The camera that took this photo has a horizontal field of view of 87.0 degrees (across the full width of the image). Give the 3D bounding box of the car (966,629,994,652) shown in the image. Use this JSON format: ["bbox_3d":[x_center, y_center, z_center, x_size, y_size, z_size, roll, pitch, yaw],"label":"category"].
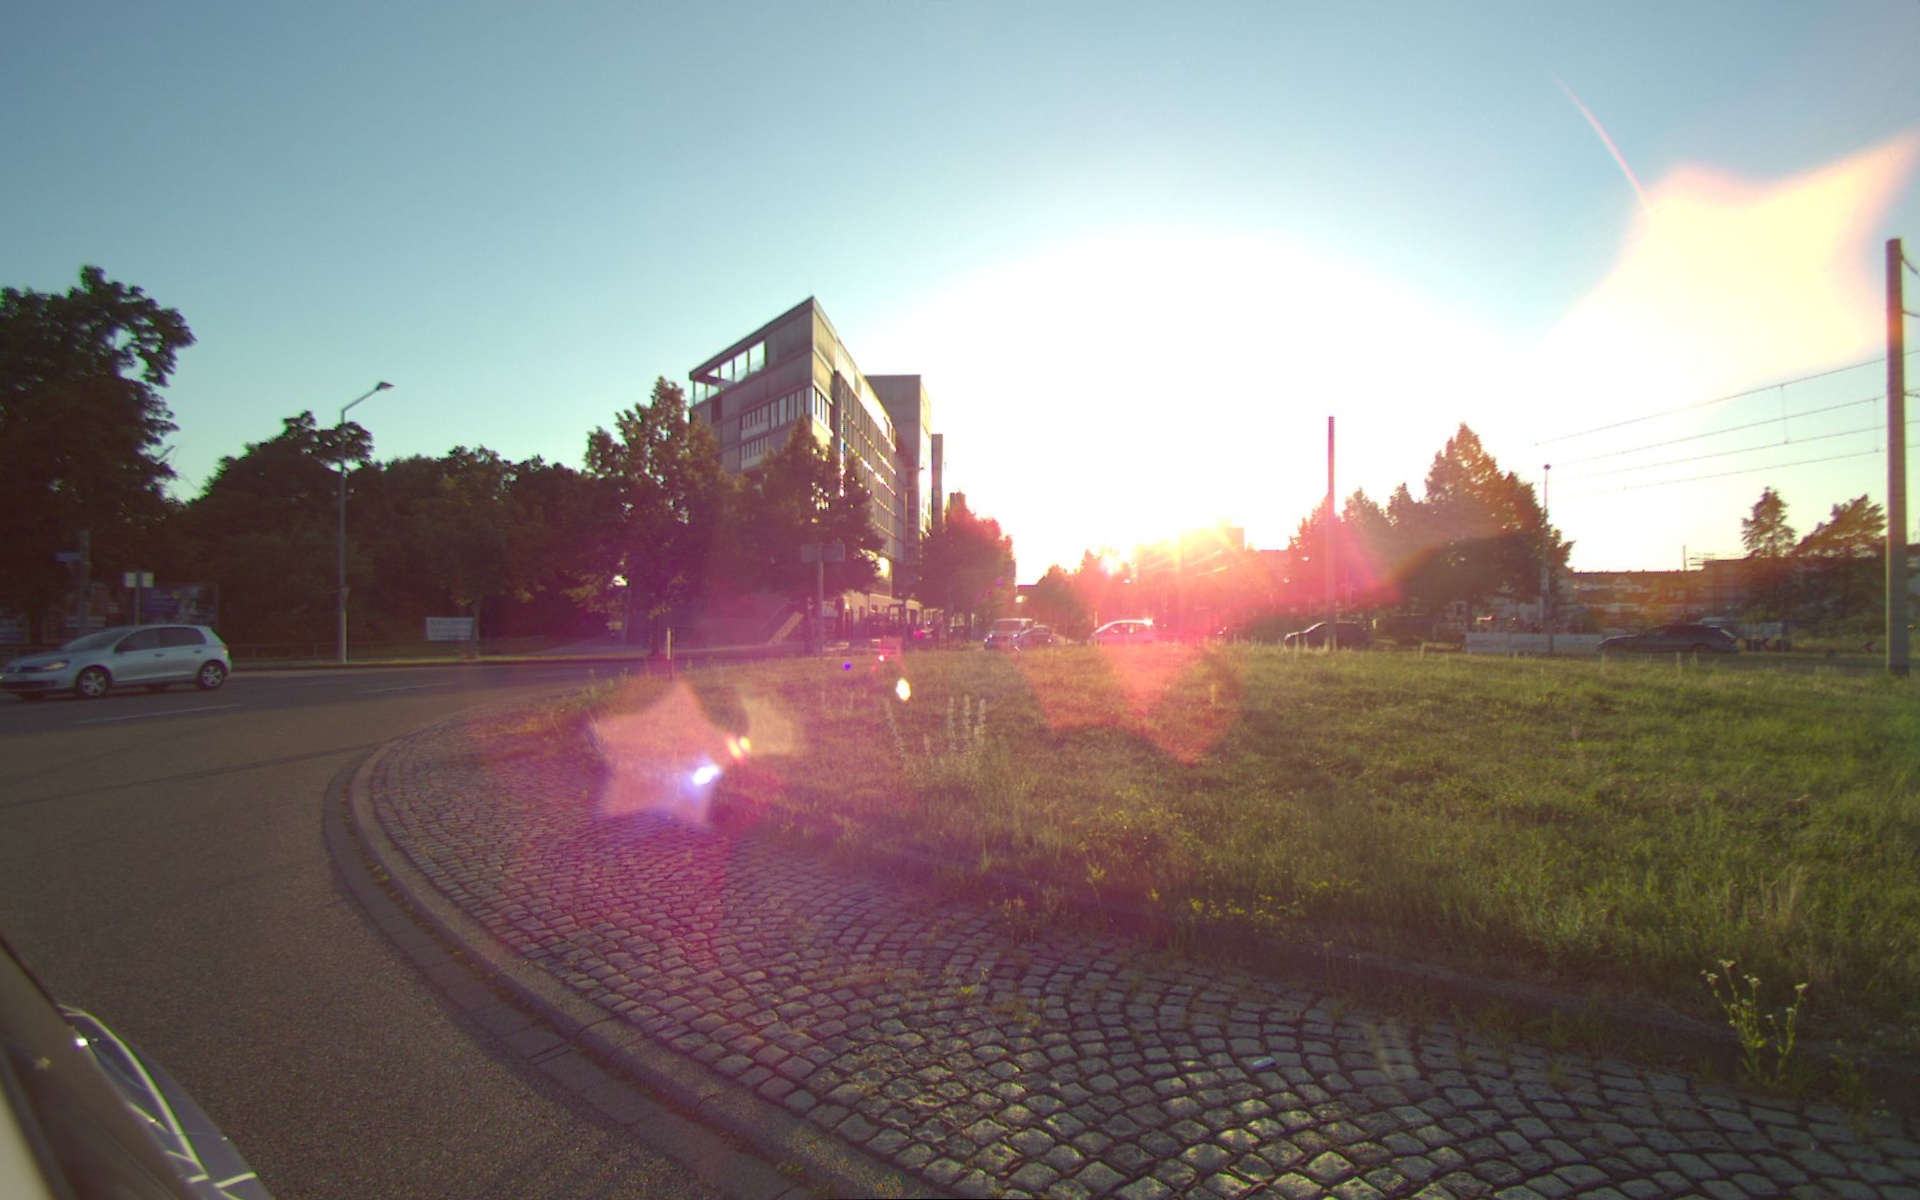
[{"bbox_3d":[1.395,2.795,69.925,1.779,1.475,3.996,0,-1,3],"label":"car"}]

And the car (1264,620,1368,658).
[{"bbox_3d":[16.780,1.836,47.863,4.561,1.761,1.740,-1,-2,20],"label":"car"}]

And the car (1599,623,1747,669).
[{"bbox_3d":[28.462,1.814,40.507,1.725,1.761,4.600,2,-3,-44],"label":"car"}]

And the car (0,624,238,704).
[{"bbox_3d":[-17.920,1.274,21.440,1.874,1.492,4.033,-1,-1,14],"label":"car"}]

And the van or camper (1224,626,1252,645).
[{"bbox_3d":[31.244,4.027,113.852,1.890,2.025,5.296,0,-3,3],"label":"van or camper"}]

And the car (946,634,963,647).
[{"bbox_3d":[-0.590,4.628,115.657,1.779,1.475,3.996,0,-2,3],"label":"car"}]

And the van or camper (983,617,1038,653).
[{"bbox_3d":[2.982,1.967,58.646,1.982,1.972,5.300,-1,-1,16],"label":"van or camper"}]

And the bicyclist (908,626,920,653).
[{"bbox_3d":[-2.869,2.456,63.230,0.674,1.660,0.685,0,-2,-6],"label":"bicyclist"}]

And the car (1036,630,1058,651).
[{"bbox_3d":[6.861,3.166,79.867,1.724,1.548,3.993,0,-1,5],"label":"car"}]

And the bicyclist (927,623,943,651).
[{"bbox_3d":[-1.581,2.380,64.488,0.840,1.769,0.801,-1,-2,10],"label":"bicyclist"}]

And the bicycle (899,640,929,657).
[{"bbox_3d":[-2.853,2.993,63.014,1.834,1.030,0.308,0,-2,-6],"label":"bicycle"}]

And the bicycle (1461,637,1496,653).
[{"bbox_3d":[32.061,2.774,62.648,1.821,0.988,0.548,-1,-2,7],"label":"bicycle"}]

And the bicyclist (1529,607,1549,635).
[{"bbox_3d":[34.495,1.243,60.246,0.684,1.646,0.800,1,-3,-37],"label":"bicyclist"}]

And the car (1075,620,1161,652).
[{"bbox_3d":[7.377,1.670,47.474,3.654,1.476,1.608,0,-2,-5],"label":"car"}]

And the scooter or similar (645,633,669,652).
[{"bbox_3d":[-20.347,2.864,67.912,1.562,1.229,0.365,-1,-2,14],"label":"scooter or similar"}]

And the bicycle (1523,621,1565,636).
[{"bbox_3d":[34.708,1.710,60.156,0.504,0.852,2.140,1,-3,-37],"label":"bicycle"}]

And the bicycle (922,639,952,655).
[{"bbox_3d":[-1.485,3.013,64.943,1.843,1.030,0.436,-1,-2,11],"label":"bicycle"}]

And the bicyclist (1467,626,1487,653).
[{"bbox_3d":[31.974,2.471,62.629,0.805,1.653,0.813,-1,-2,7],"label":"bicyclist"}]
